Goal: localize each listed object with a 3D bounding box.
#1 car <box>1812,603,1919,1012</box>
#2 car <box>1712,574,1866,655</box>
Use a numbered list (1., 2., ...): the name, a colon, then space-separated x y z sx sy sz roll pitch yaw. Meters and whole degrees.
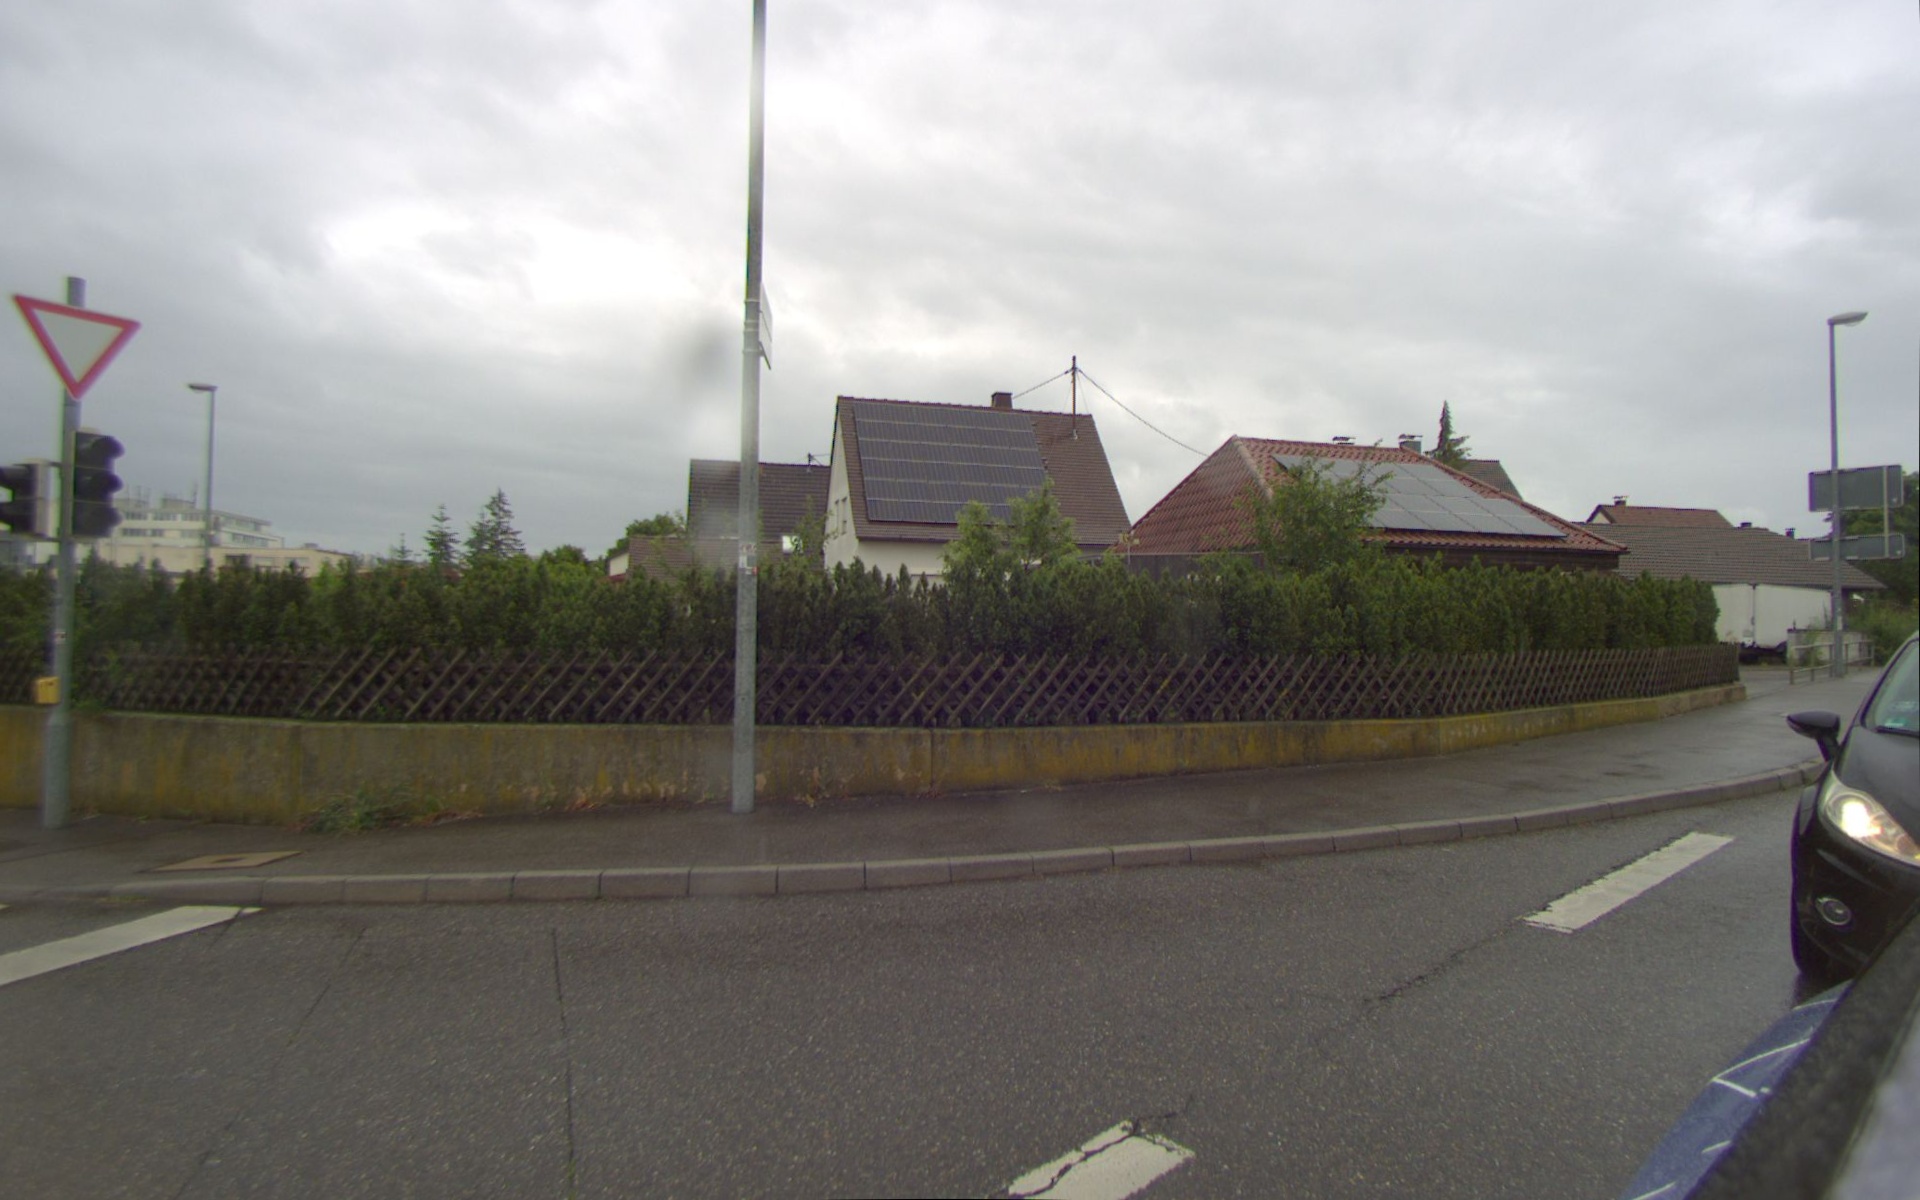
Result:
1. car: 5.249 0.760 4.605 3.867 1.436 1.663 -1 0 -43
2. car: 25.536 0.429 31.203 3.916 2.380 1.657 0 -1 -14
